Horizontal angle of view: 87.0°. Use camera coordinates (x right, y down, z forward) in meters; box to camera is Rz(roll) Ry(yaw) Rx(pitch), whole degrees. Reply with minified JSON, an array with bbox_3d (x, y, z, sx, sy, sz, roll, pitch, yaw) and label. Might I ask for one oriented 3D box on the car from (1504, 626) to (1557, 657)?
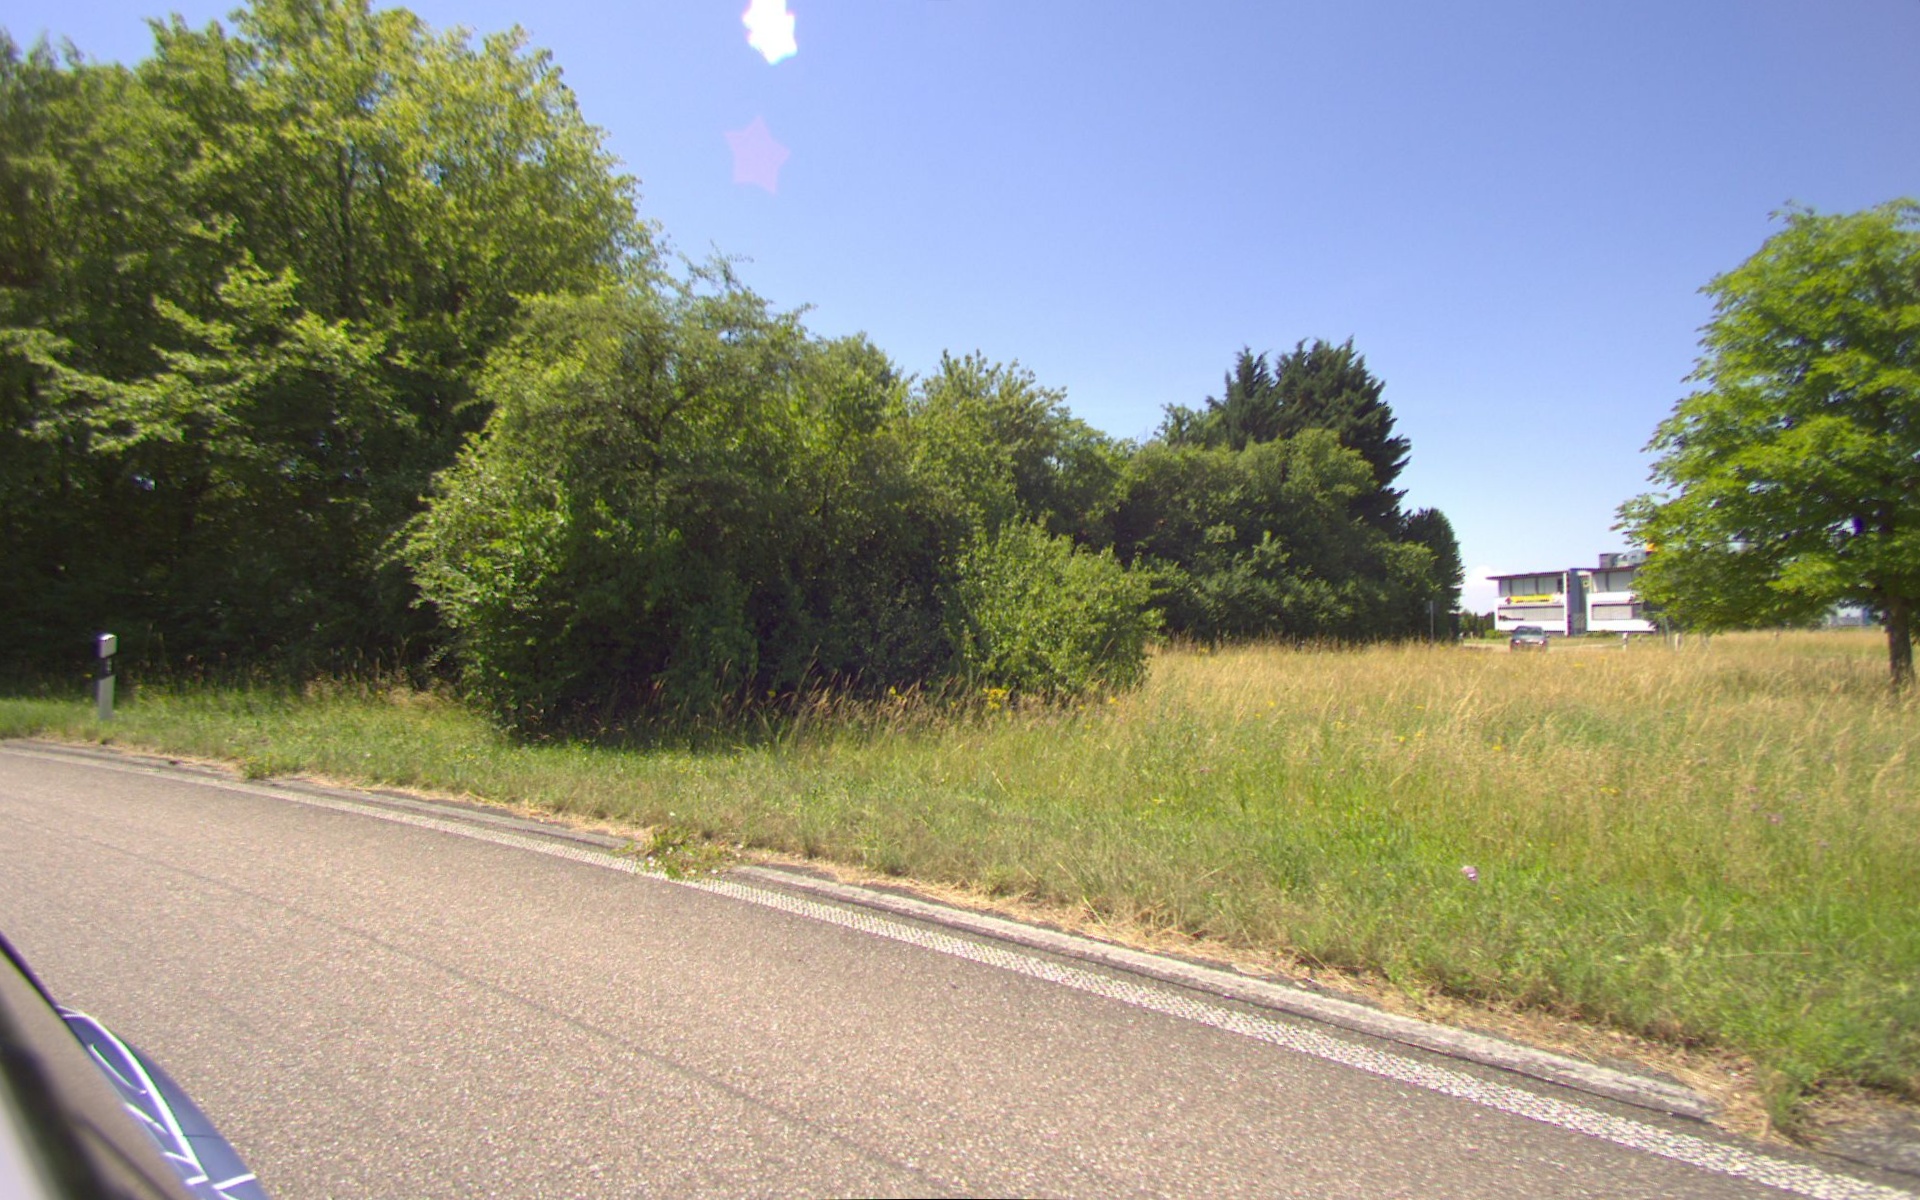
[{"bbox_3d":[30.703,2.264,54.396,1.854,1.608,3.948,-2,-4,38],"label":"car"}]
